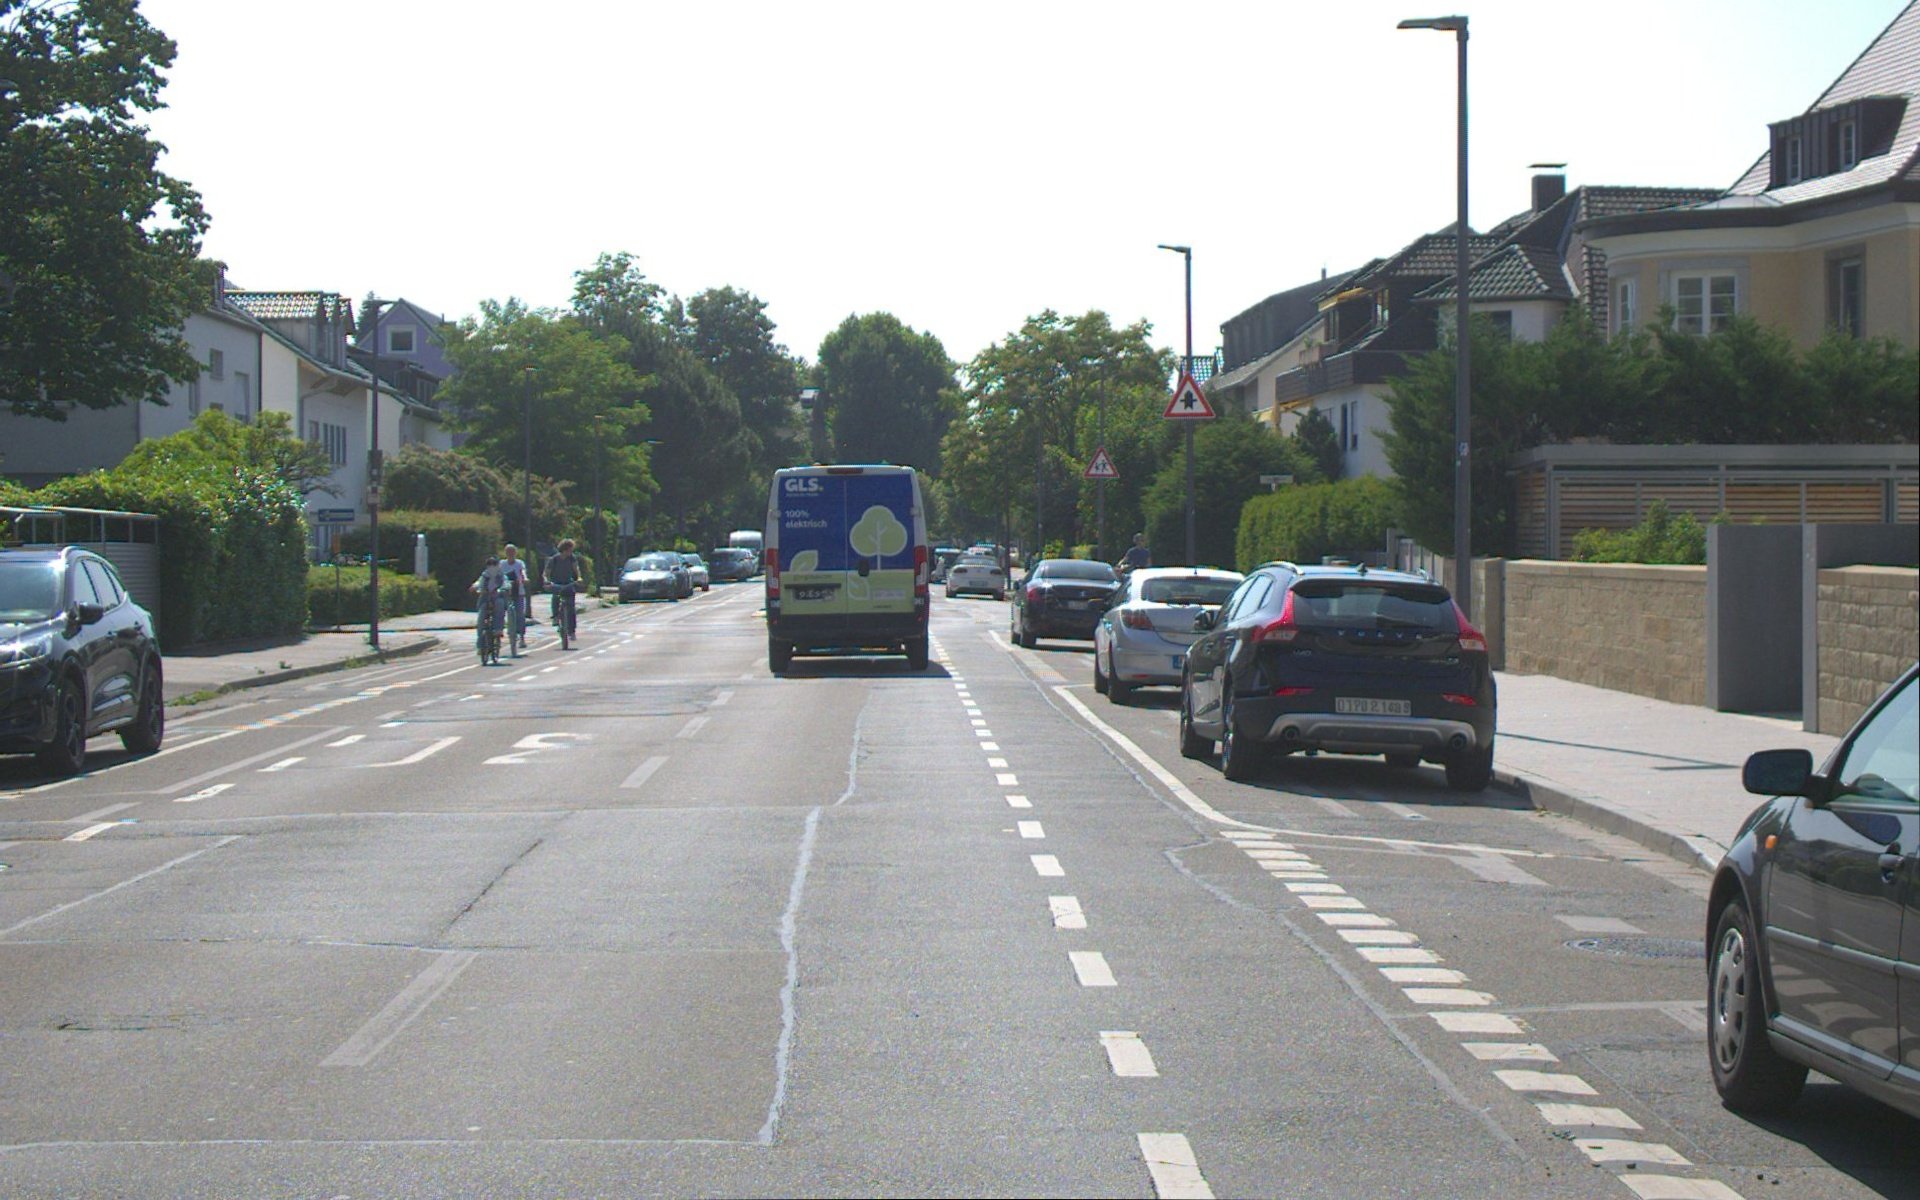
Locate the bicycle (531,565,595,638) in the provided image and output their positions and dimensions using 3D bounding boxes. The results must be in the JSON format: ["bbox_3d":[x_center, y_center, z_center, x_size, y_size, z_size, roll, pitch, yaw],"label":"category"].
[{"bbox_3d":[-6.638,0.012,57.564,0.782,1.162,2.420,-2,1,-1],"label":"bicycle"}]

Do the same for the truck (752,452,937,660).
[{"bbox_3d":[-1.478,-0.571,44.604,2.272,2.562,4.392,0,1,-1],"label":"truck"}]

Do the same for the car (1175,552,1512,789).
[{"bbox_3d":[2.604,0.432,24.262,1.722,1.444,4.169,3,1,-2],"label":"car"}]

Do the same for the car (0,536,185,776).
[{"bbox_3d":[-7.200,0.397,25.521,1.851,1.605,4.448,-3,1,-1],"label":"car"}]

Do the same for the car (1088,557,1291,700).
[{"bbox_3d":[2.357,0.282,36.177,1.736,1.324,4.076,3,0,-1],"label":"car"}]

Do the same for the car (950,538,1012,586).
[{"bbox_3d":[0.644,-1.228,110.302,1.740,1.397,4.075,2,2,-3],"label":"car"}]

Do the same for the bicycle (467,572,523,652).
[{"bbox_3d":[-6.647,0.164,49.212,0.600,1.101,1.346,-2,1,-1],"label":"bicycle"}]

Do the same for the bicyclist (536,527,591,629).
[{"bbox_3d":[-6.620,-0.377,57.481,0.749,1.662,1.022,-2,1,-1],"label":"bicyclist"}]

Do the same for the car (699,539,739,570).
[{"bbox_3d":[-11.523,-2.205,164.558,1.780,1.455,4.087,-1,1,-3],"label":"car"}]

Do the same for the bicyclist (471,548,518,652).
[{"bbox_3d":[-6.661,-0.009,49.207,0.490,1.449,0.964,-2,1,-1],"label":"bicyclist"}]

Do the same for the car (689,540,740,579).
[{"bbox_3d":[-9.305,-1.543,130.344,1.785,1.435,4.001,-1,1,-2],"label":"car"}]

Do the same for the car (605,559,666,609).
[{"bbox_3d":[-10.061,-0.516,106.829,1.785,1.435,4.155,-2,1,-5],"label":"car"}]

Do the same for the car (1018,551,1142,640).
[{"bbox_3d":[1.890,-0.100,55.280,1.736,1.324,4.260,-1,1,-1],"label":"car"}]

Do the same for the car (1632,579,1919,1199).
[{"bbox_3d":[2.908,0.724,8.252,1.619,1.444,4.000,3,1,-2],"label":"car"}]

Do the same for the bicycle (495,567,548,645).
[{"bbox_3d":[-6.904,0.076,54.199,0.559,1.181,2.036,-2,1,-1],"label":"bicycle"}]

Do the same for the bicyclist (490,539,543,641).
[{"bbox_3d":[-6.979,-0.160,54.176,0.676,1.575,0.859,-2,1,-1],"label":"bicyclist"}]

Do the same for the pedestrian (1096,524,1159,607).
[{"bbox_3d":[3.832,-0.792,78.517,0.899,1.866,1.189,0,1,-34],"label":"pedestrian"}]
